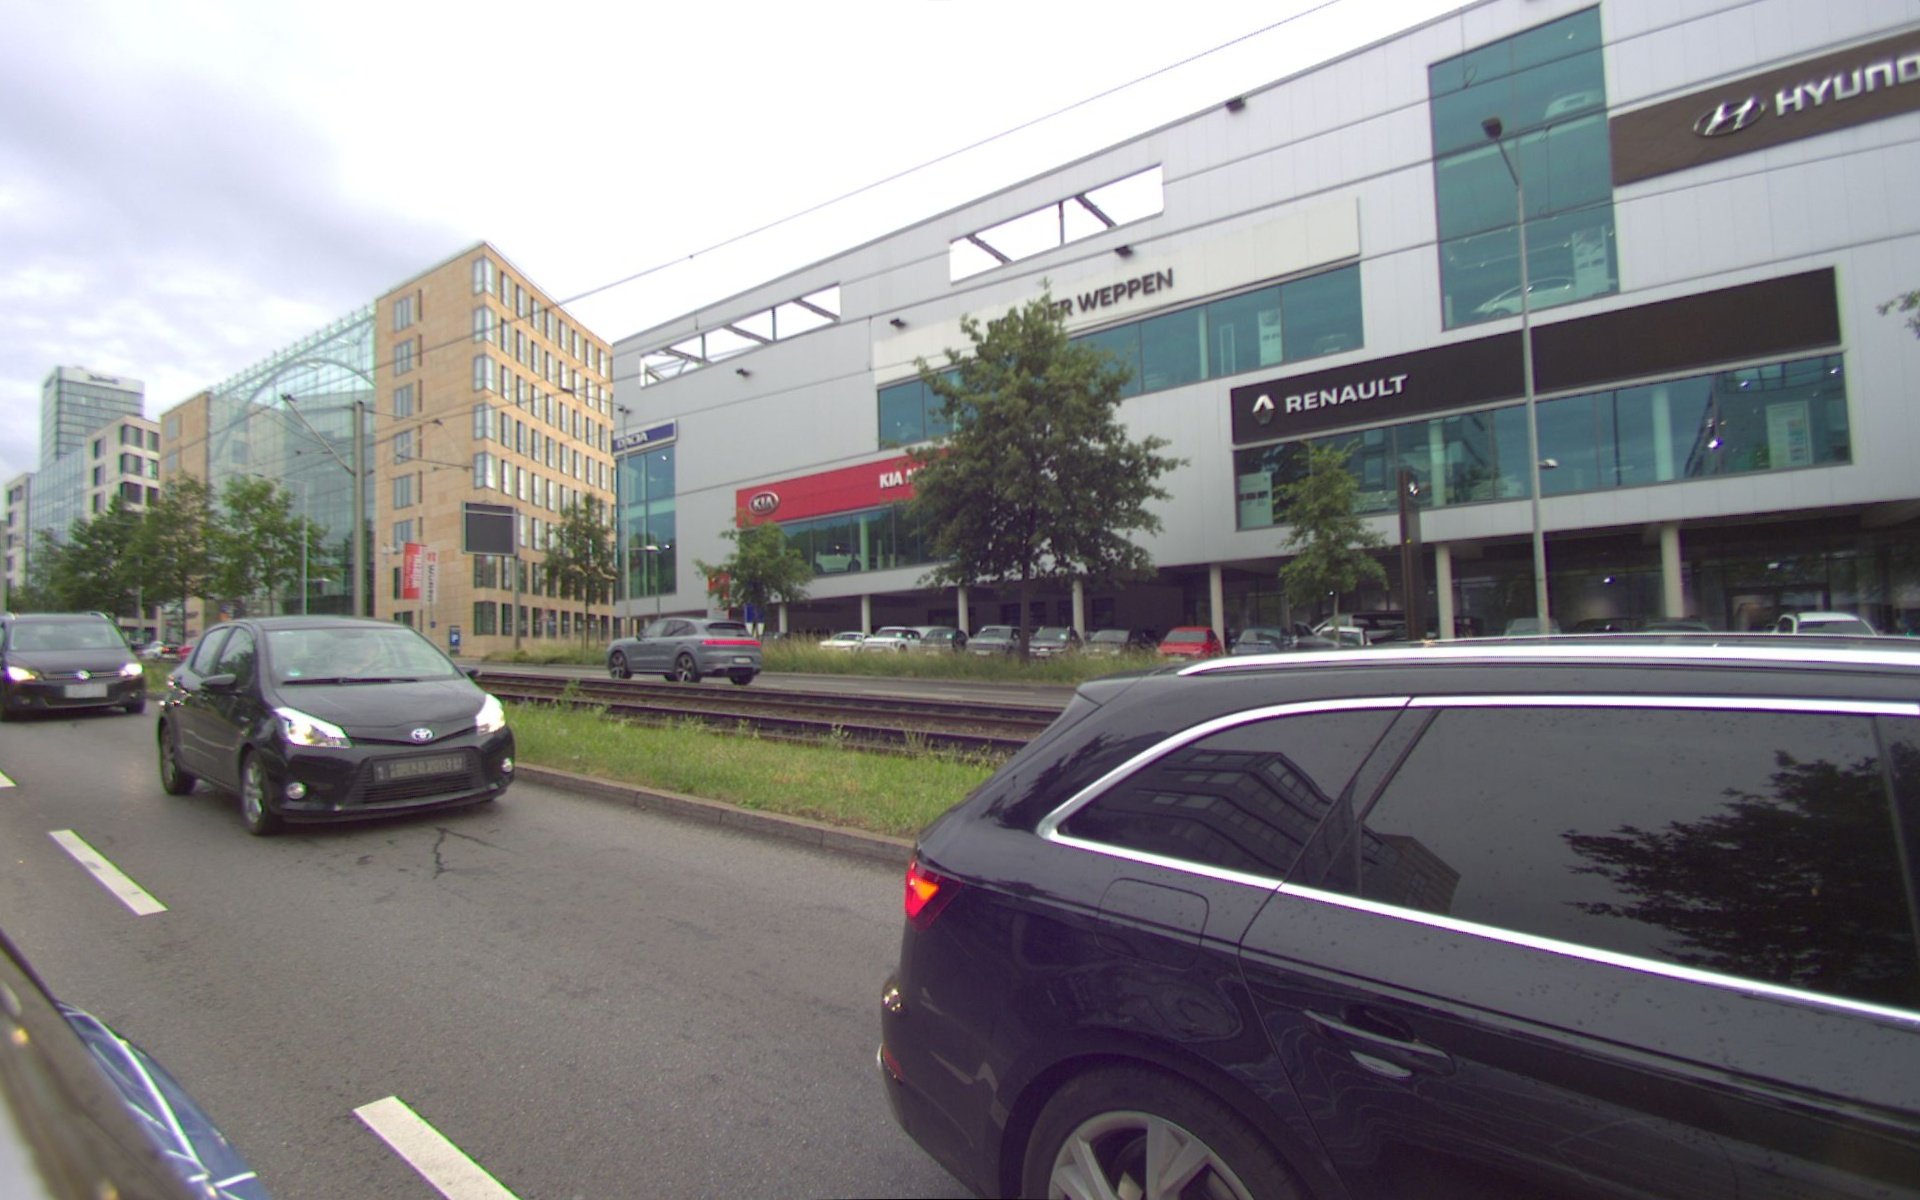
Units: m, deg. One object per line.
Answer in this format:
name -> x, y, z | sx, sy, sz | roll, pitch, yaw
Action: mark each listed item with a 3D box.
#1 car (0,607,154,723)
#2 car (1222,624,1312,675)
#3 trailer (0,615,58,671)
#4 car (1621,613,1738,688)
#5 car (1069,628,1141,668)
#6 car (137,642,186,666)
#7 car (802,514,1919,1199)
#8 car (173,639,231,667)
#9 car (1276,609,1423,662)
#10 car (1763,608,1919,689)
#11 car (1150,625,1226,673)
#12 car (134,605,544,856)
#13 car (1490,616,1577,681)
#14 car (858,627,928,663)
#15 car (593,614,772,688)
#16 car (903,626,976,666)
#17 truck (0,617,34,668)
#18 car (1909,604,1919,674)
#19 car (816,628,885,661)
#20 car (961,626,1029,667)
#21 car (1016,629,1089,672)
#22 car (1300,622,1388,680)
car -> -14.708, 0.975, 16.461 | 4.315, 1.619, 1.763 | -2, 0, 41
car -> 10.077, 1.554, 33.050 | 1.914, 1.362, 4.005 | -1, 1, 30
trailer -> -79.329, 3.616, 84.737 | 13.260, 4.363, 3.104 | -2, -4, 38
car -> 18.057, 1.206, 25.592 | 1.992, 1.562, 4.331 | -1, 1, 30
car -> 5.247, 1.701, 36.331 | 1.688, 1.190, 3.498 | -2, 1, 24
car -> -55.477, 3.721, 70.278 | 4.091, 1.593, 1.669 | -2, -1, 36
car -> 1.914, 0.642, 1.492 | 4.511, 1.478, 1.762 | -2, -2, 41
car -> -43.293, 2.993, 57.766 | 4.095, 1.524, 1.569 | -1, -4, 38
car -> 13.958, 1.267, 36.505 | 4.488, 1.796, 1.997 | -1, -1, 5
car -> 20.596, 1.058, 23.816 | 1.992, 1.562, 4.331 | -1, 1, 30
car -> 7.814, 1.630, 34.453 | 1.789, 1.362, 3.903 | -2, 1, 24
car -> -5.090, 0.844, 8.105 | 3.823, 1.544, 1.683 | -1, -1, 40
car -> 15.858, 1.283, 27.978 | 1.925, 1.470, 3.981 | -1, 1, 30
car -> -2.793, 1.888, 42.971 | 1.685, 1.304, 3.643 | -2, 1, 18
car -> -7.243, 1.306, 26.212 | 4.834, 1.733, 1.974 | -2, -4, 38
car -> -0.786, 1.831, 41.040 | 1.688, 1.362, 3.499 | -2, 1, 23
truck -> -83.749, 3.717, 88.172 | 7.017, 4.276, 3.106 | -2, -4, 38
car -> 22.834, 0.957, 22.195 | 1.992, 1.627, 4.331 | -1, 1, 30
car -> -4.784, 1.959, 44.647 | 1.685, 1.196, 3.643 | -2, 1, 18
car -> 1.432, 1.809, 39.701 | 1.686, 1.362, 3.503 | -2, 1, 20
car -> 3.499, 1.854, 37.791 | 1.688, 1.362, 3.498 | -2, 1, 24
car -> 11.951, 1.529, 31.353 | 1.914, 1.470, 4.005 | -1, 1, 30
